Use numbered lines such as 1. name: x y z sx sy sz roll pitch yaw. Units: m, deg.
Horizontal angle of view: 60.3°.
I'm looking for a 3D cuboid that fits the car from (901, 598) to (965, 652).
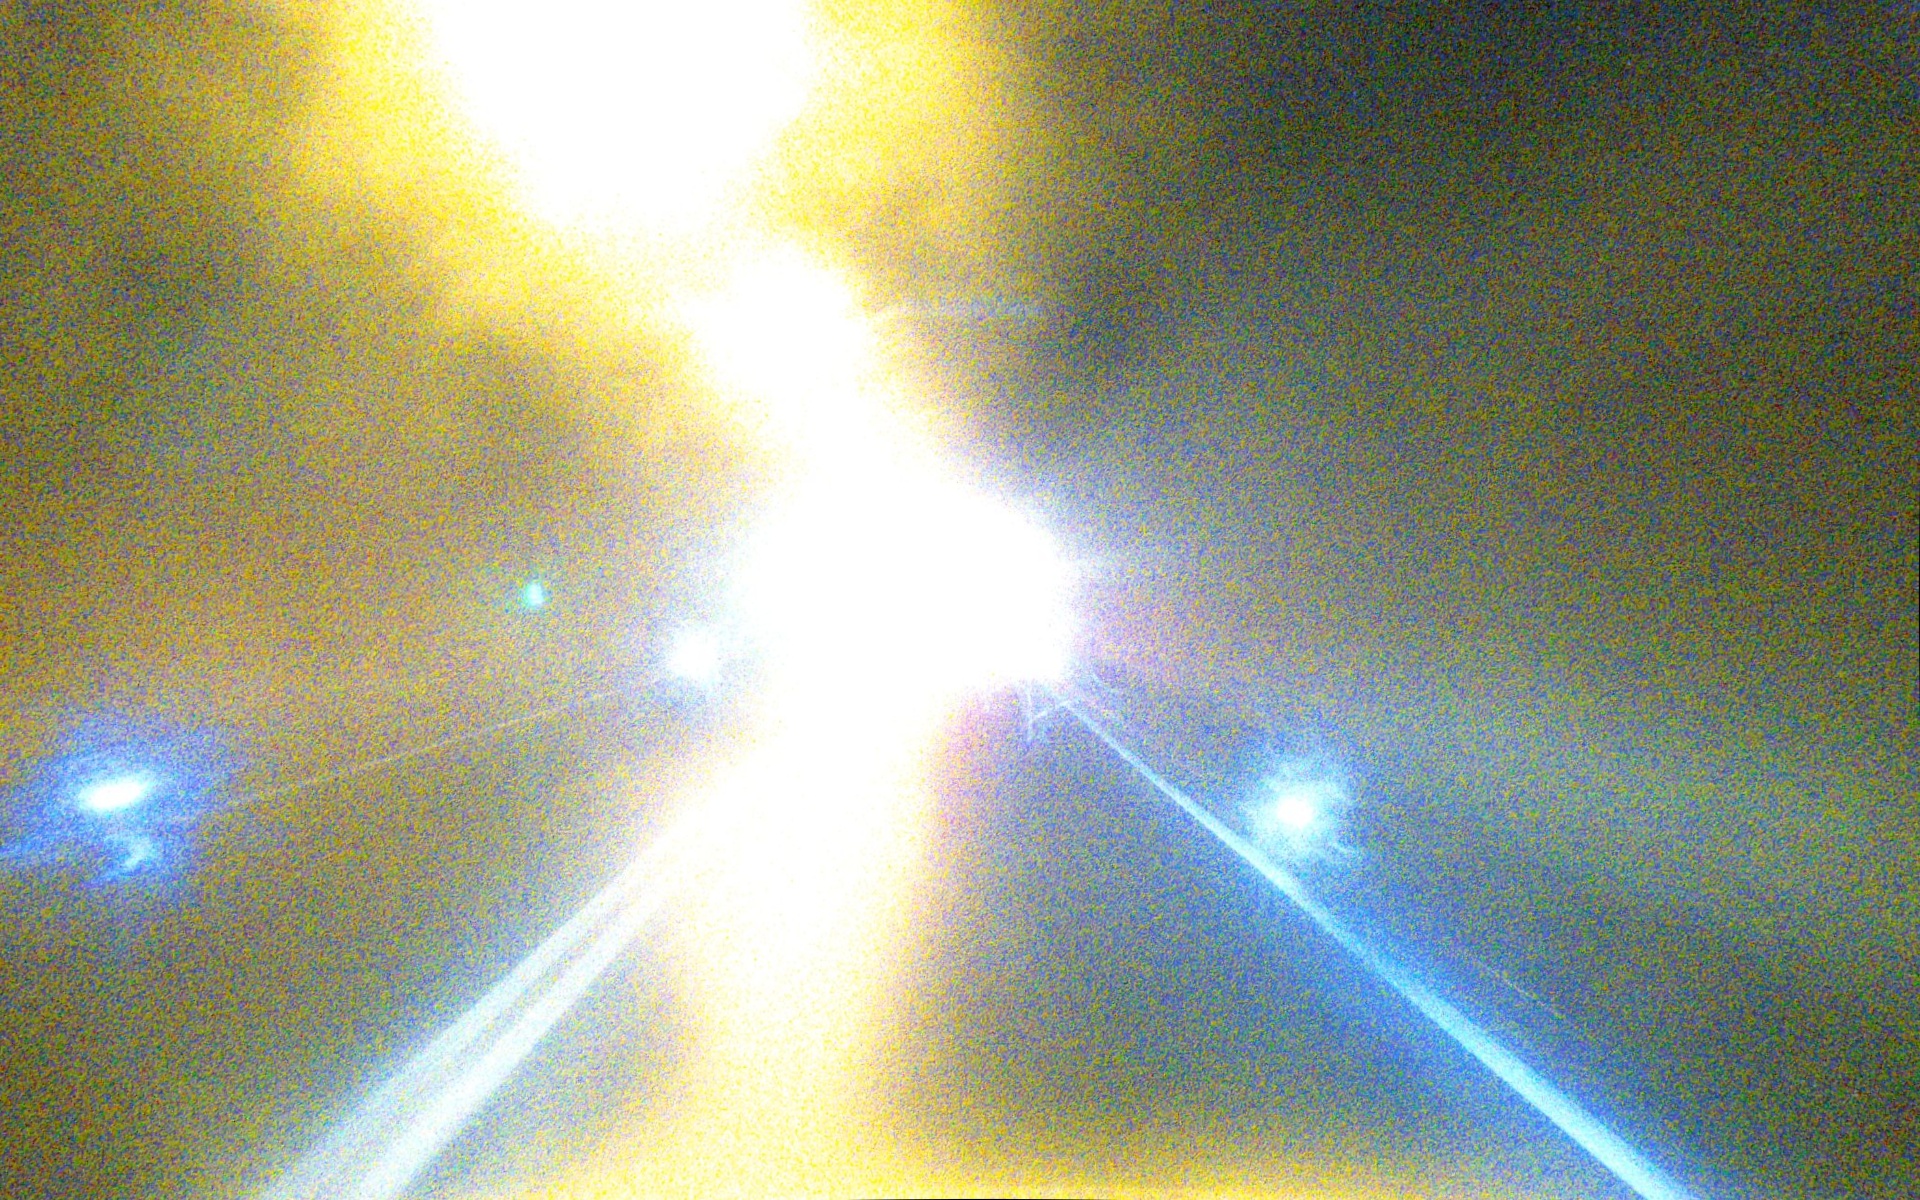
1. car: -0.922 0.817 55.244 2.047 1.691 3.999 1 0 -1
